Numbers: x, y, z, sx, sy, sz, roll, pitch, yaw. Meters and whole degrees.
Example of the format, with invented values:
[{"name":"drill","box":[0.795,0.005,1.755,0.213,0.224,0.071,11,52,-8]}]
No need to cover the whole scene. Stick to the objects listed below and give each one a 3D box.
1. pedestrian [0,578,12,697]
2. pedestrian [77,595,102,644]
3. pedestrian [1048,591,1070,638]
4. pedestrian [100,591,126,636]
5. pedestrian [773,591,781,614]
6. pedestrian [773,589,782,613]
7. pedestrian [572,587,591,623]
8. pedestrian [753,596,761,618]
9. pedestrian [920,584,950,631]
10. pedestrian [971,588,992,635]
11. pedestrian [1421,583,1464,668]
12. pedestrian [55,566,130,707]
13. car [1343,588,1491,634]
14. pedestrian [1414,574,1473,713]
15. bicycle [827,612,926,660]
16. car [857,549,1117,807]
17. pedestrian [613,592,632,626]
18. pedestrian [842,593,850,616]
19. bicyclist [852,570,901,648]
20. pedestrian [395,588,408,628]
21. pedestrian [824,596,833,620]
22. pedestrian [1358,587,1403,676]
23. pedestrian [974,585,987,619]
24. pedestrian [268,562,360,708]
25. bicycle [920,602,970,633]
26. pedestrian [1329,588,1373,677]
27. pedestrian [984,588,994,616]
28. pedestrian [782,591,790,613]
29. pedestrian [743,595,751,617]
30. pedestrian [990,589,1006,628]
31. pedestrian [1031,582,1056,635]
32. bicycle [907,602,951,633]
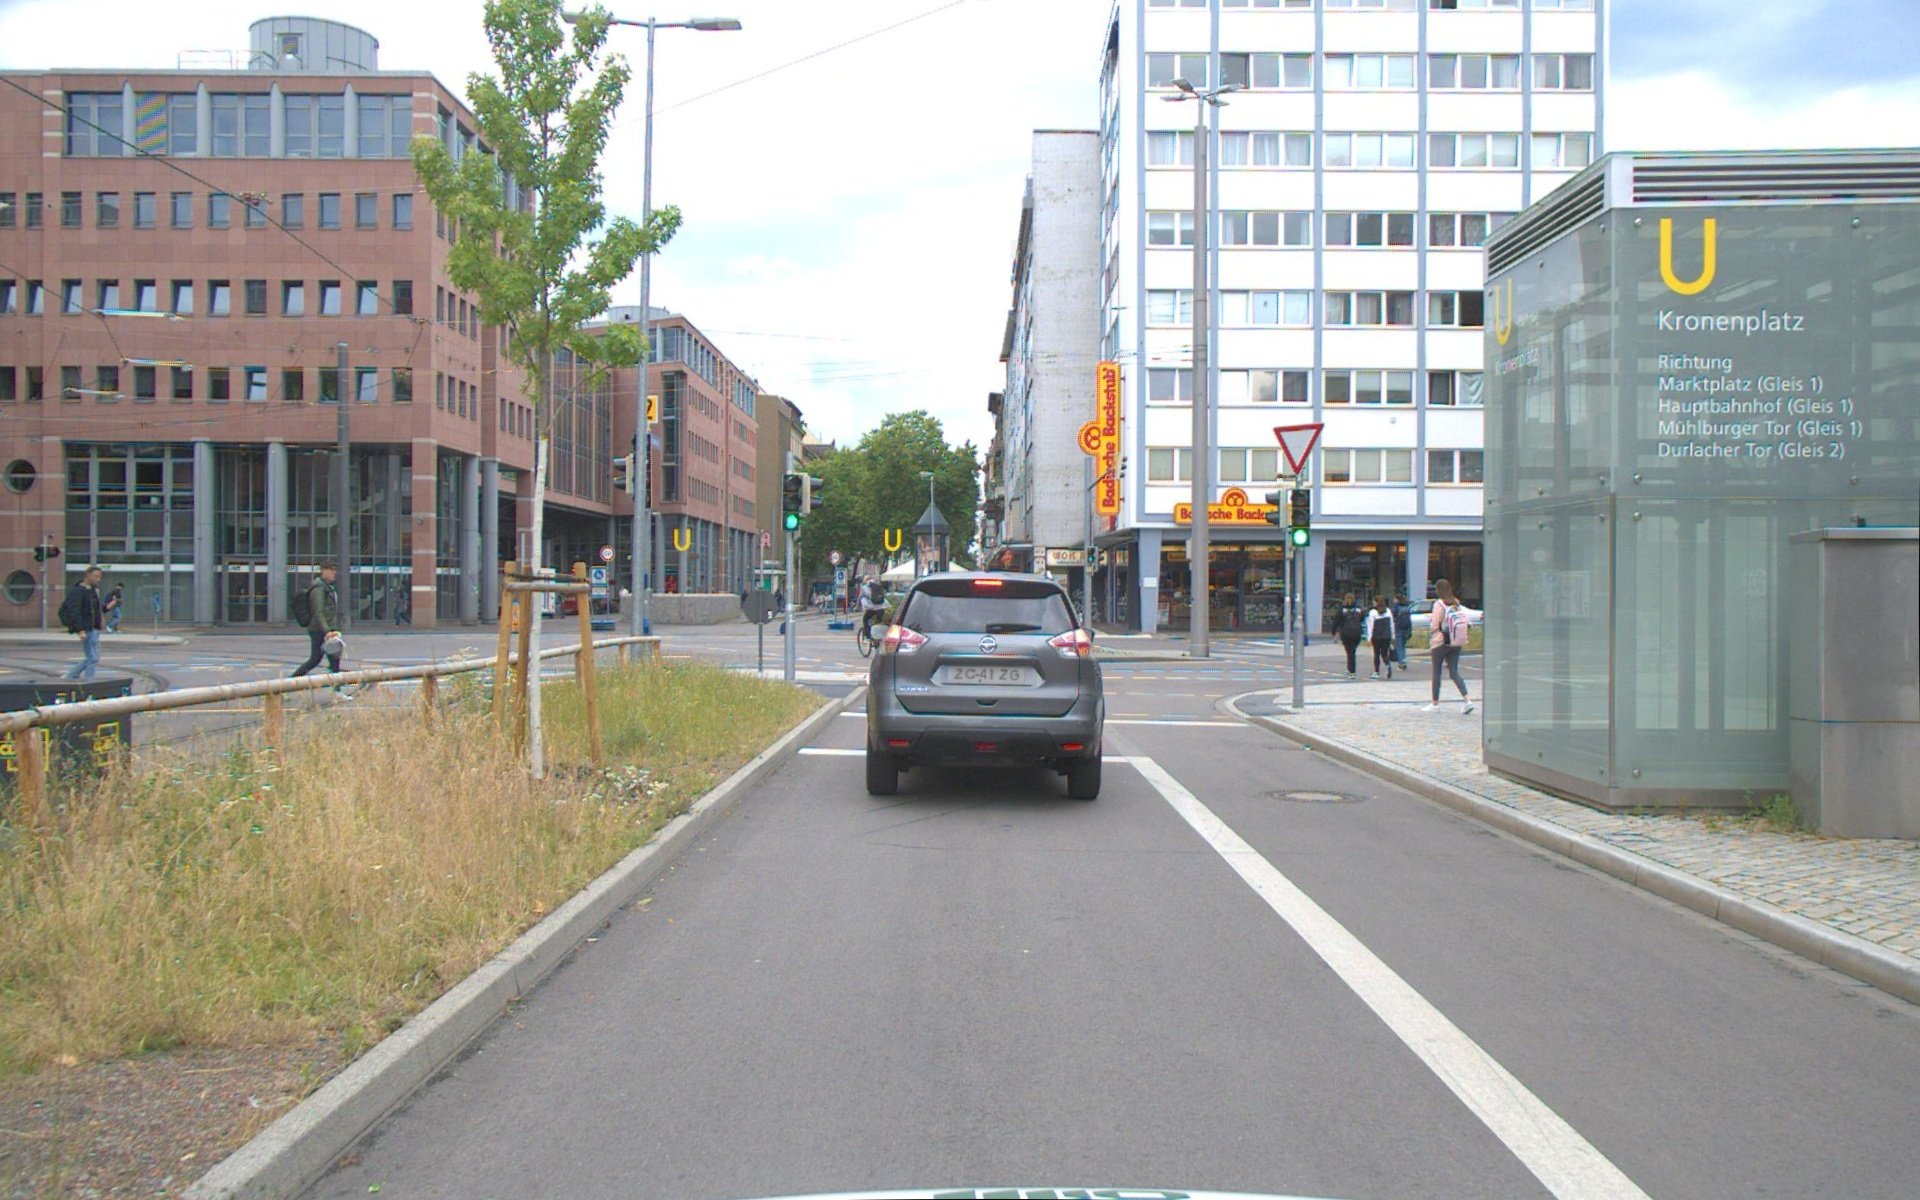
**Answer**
[{"name":"pedestrian","box":[-14.184,0.529,23.683,0.729,1.713,0.798,2,-1,-4]},{"name":"pedestrian","box":[-30.552,0.690,58.055,0.733,1.717,0.569,2,-1,-26]},{"name":"pedestrian","box":[3.716,0.531,62.090,0.695,1.734,0.735,1,0,12]},{"name":"pedestrian","box":[-30.244,0.484,59.069,0.732,1.588,0.570,2,-1,-23]},{"name":"pedestrian","box":[-13.867,0.209,125.318,0.589,1.744,0.654,1,0,-7]},{"name":"pedestrian","box":[-13.414,0.054,121.380,0.589,1.744,0.654,1,0,-7]},{"name":"pedestrian","box":[-19.462,0.255,85.001,0.725,1.874,0.694,1,0,-34]},{"name":"pedestrian","box":[-16.174,0.538,131.906,0.589,1.744,0.654,1,0,-7]},{"name":"pedestrian","box":[-0.938,0.278,62.389,0.906,1.734,0.734,1,0,20]},{"name":"pedestrian","box":[0.827,0.430,63.966,0.718,1.776,0.662,1,0,-8]},{"name":"pedestrian","box":[11.036,0.577,37.847,0.786,1.895,1.154,-1,0,10]},{"name":"pedestrian","box":[-12.067,0.499,23.024,0.598,1.923,0.799,0,-1,-2]},{"name":"car","box":[15.301,0.362,55.479,4.460,1.507,1.748,0,0,-2]},{"name":"pedestrian","box":[6.363,0.565,21.776,0.512,1.792,0.601,1,0,-8]},{"name":"bicycle","box":[-2.065,0.842,40.088,0.893,1.063,3.240,1,0,-33]},{"name":"car","box":[0.218,0.587,13.964,1.825,1.806,4.567,0,-1,1]},{"name":"pedestrian","box":[-18.383,0.489,90.120,0.686,1.874,0.734,1,0,20]},{"name":"pedestrian","box":[-8.789,0.314,127.780,0.589,1.744,0.654,1,0,-7]},{"name":"bicyclist","box":[-2.017,0.219,39.976,0.826,1.844,0.867,1,0,-33]},{"name":"pedestrian","box":[-21.572,0.309,63.863,0.442,1.559,0.520,1,0,-18]},{"name":"pedestrian","box":[-8.825,0.514,110.893,0.589,1.563,0.654,1,0,-7]},{"name":"pedestrian","box":[8.620,0.645,33.911,0.609,1.792,0.778,1,0,-7]},{"name":"pedestrian","box":[1.077,0.094,86.853,0.630,1.734,0.559,1,0,1]},{"name":"pedestrian","box":[-8.773,0.465,22.490,0.878,1.923,0.799,2,-1,-2]},{"name":"bicycle","box":[-0.577,0.677,64.340,1.835,1.192,0.529,1,0,-14]},{"name":"pedestrian","box":[7.986,0.652,33.811,0.609,1.792,0.778,1,0,-7]},{"name":"pedestrian","box":[1.776,0.134,101.730,0.599,1.734,0.620,1,0,1]},{"name":"pedestrian","box":[-14.266,0.165,135.623,0.589,1.744,0.654,1,0,-7]},{"name":"pedestrian","box":[-17.022,0.485,131.878,0.589,1.744,0.654,1,0,-7]},{"name":"pedestrian","box":[1.794,0.390,78.486,0.723,1.853,0.662,0,0,-2]},{"name":"pedestrian","box":[2.991,0.301,59.268,0.699,1.864,1.015,1,0,-7]},{"name":"bicycle","box":[-1.206,0.678,64.712,1.666,1.192,0.436,1,0,-12]}]
